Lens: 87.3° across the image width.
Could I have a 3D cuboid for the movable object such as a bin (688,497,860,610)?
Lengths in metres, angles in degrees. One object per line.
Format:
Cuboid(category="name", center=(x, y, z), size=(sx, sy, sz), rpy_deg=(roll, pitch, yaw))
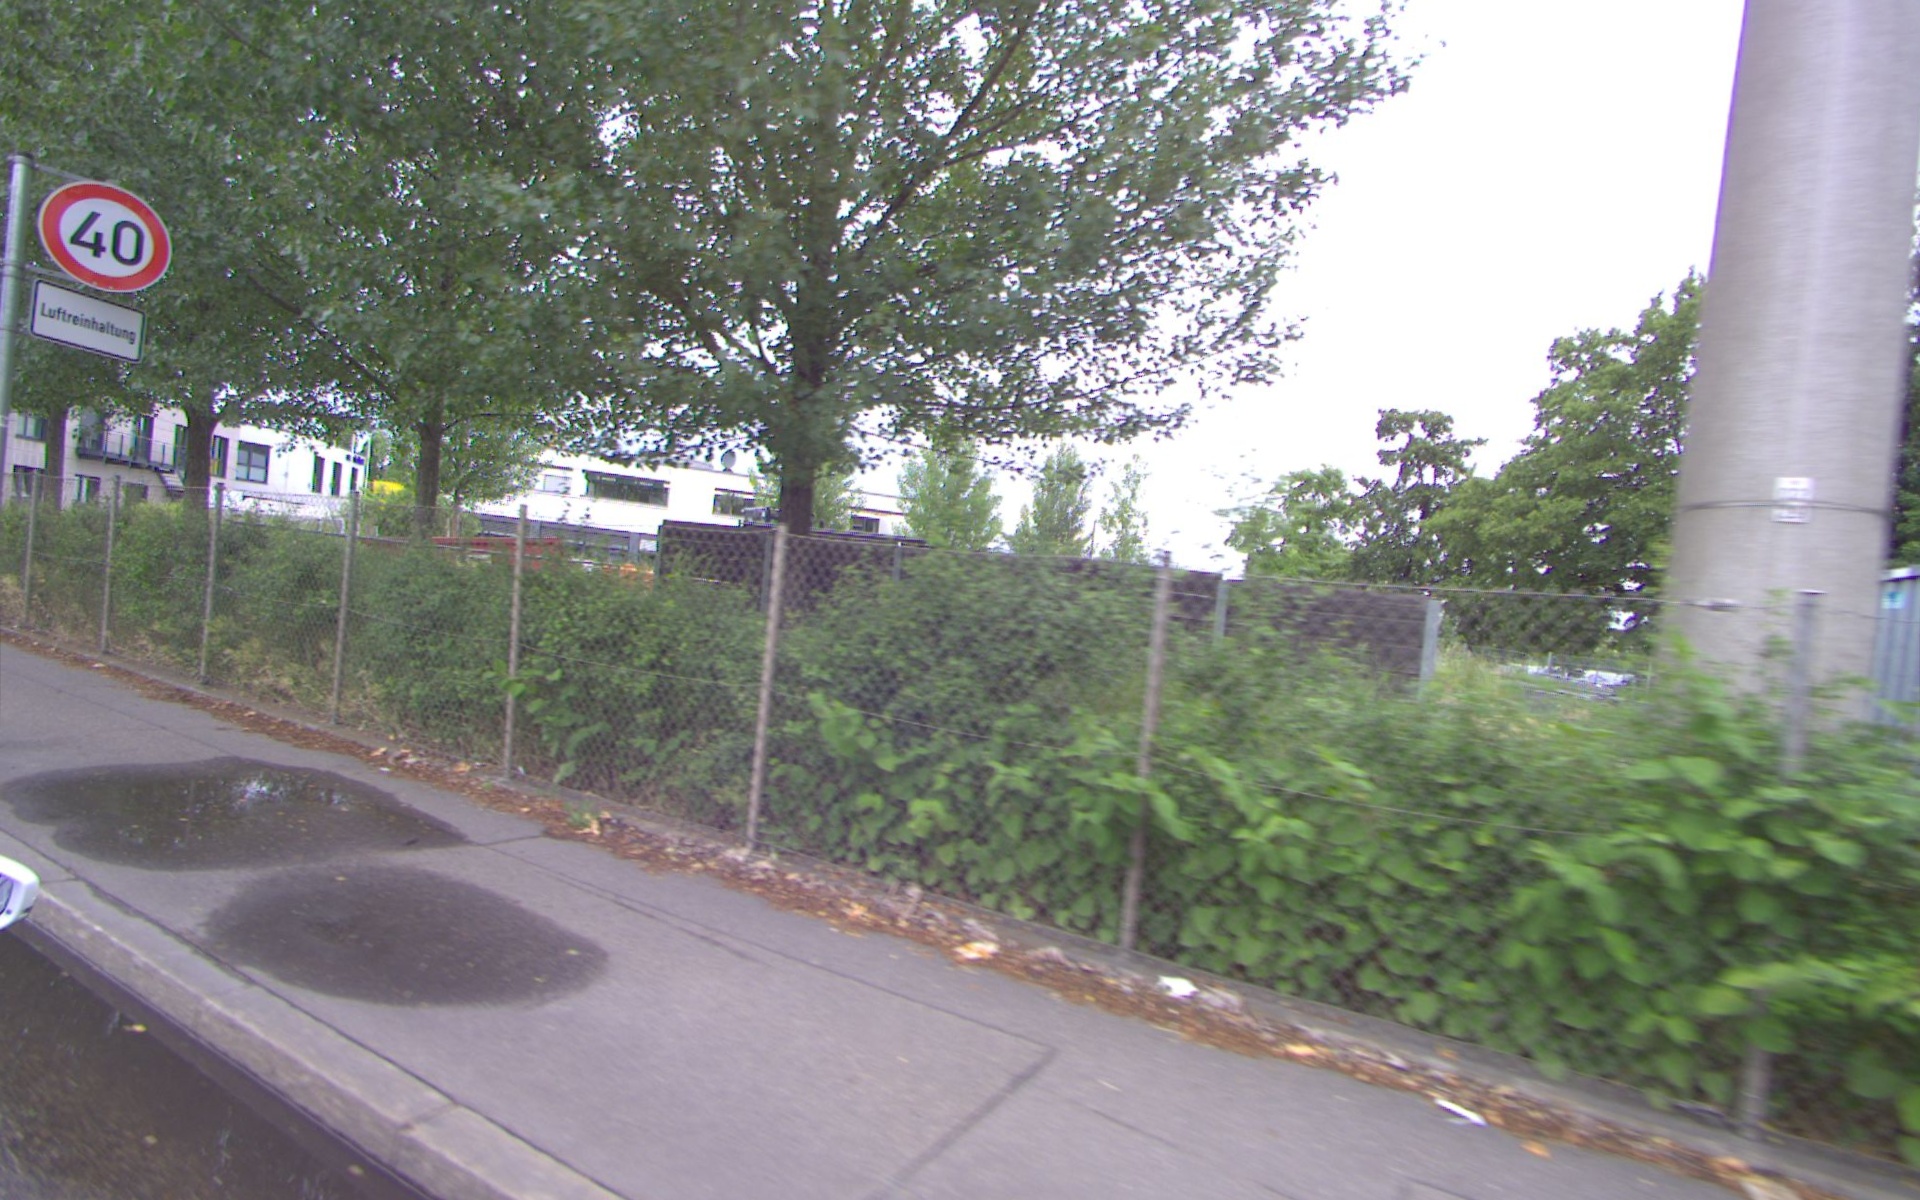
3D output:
Cuboid(category="movable object such as a bin", center=(-4.070, -0.885, 21.450), size=(1.980, 2.038, 4.259), rpy_deg=(4, -2, -35))
